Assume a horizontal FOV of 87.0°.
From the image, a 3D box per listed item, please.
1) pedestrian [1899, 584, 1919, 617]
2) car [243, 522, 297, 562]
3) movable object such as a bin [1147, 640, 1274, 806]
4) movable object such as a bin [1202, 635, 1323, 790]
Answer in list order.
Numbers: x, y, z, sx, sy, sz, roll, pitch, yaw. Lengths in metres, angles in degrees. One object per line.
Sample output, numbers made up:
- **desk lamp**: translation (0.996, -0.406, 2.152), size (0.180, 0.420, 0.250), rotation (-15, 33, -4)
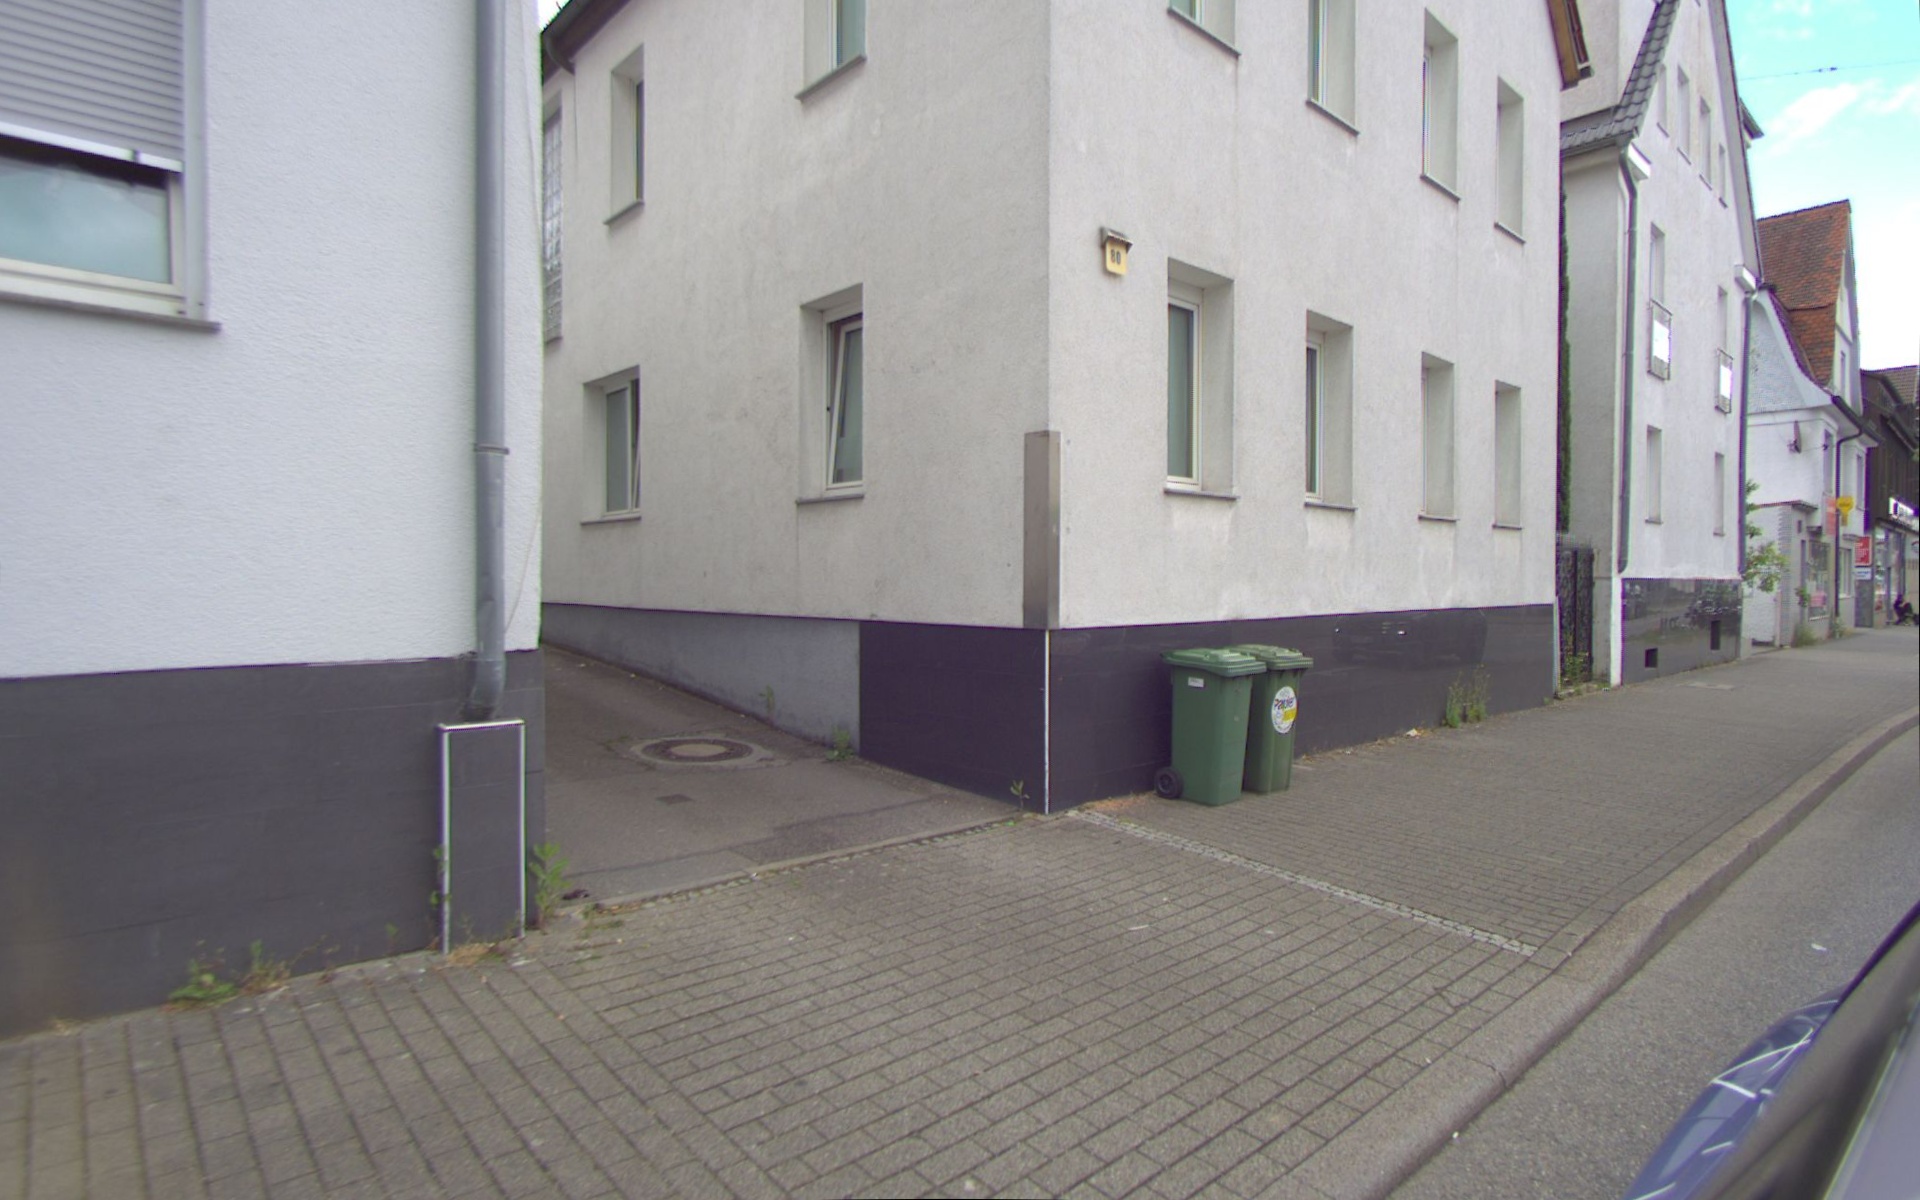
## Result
- **pedestrian**: translation (38.625, 0.012, 40.784), size (0.653, 1.296, 0.985), rotation (0, 1, -29)
- **car**: translation (-31.504, -2.607, 46.244), size (1.962, 1.638, 4.000), rotation (-1, 0, -34)
- **movable object such as a bin**: translation (1.557, 0.735, 6.307), size (0.510, 0.914, 0.565), rotation (-1, 2, -41)
- **movable object such as a bin**: translation (1.996, 0.718, 6.693), size (0.510, 0.914, 0.565), rotation (-1, 2, -41)
